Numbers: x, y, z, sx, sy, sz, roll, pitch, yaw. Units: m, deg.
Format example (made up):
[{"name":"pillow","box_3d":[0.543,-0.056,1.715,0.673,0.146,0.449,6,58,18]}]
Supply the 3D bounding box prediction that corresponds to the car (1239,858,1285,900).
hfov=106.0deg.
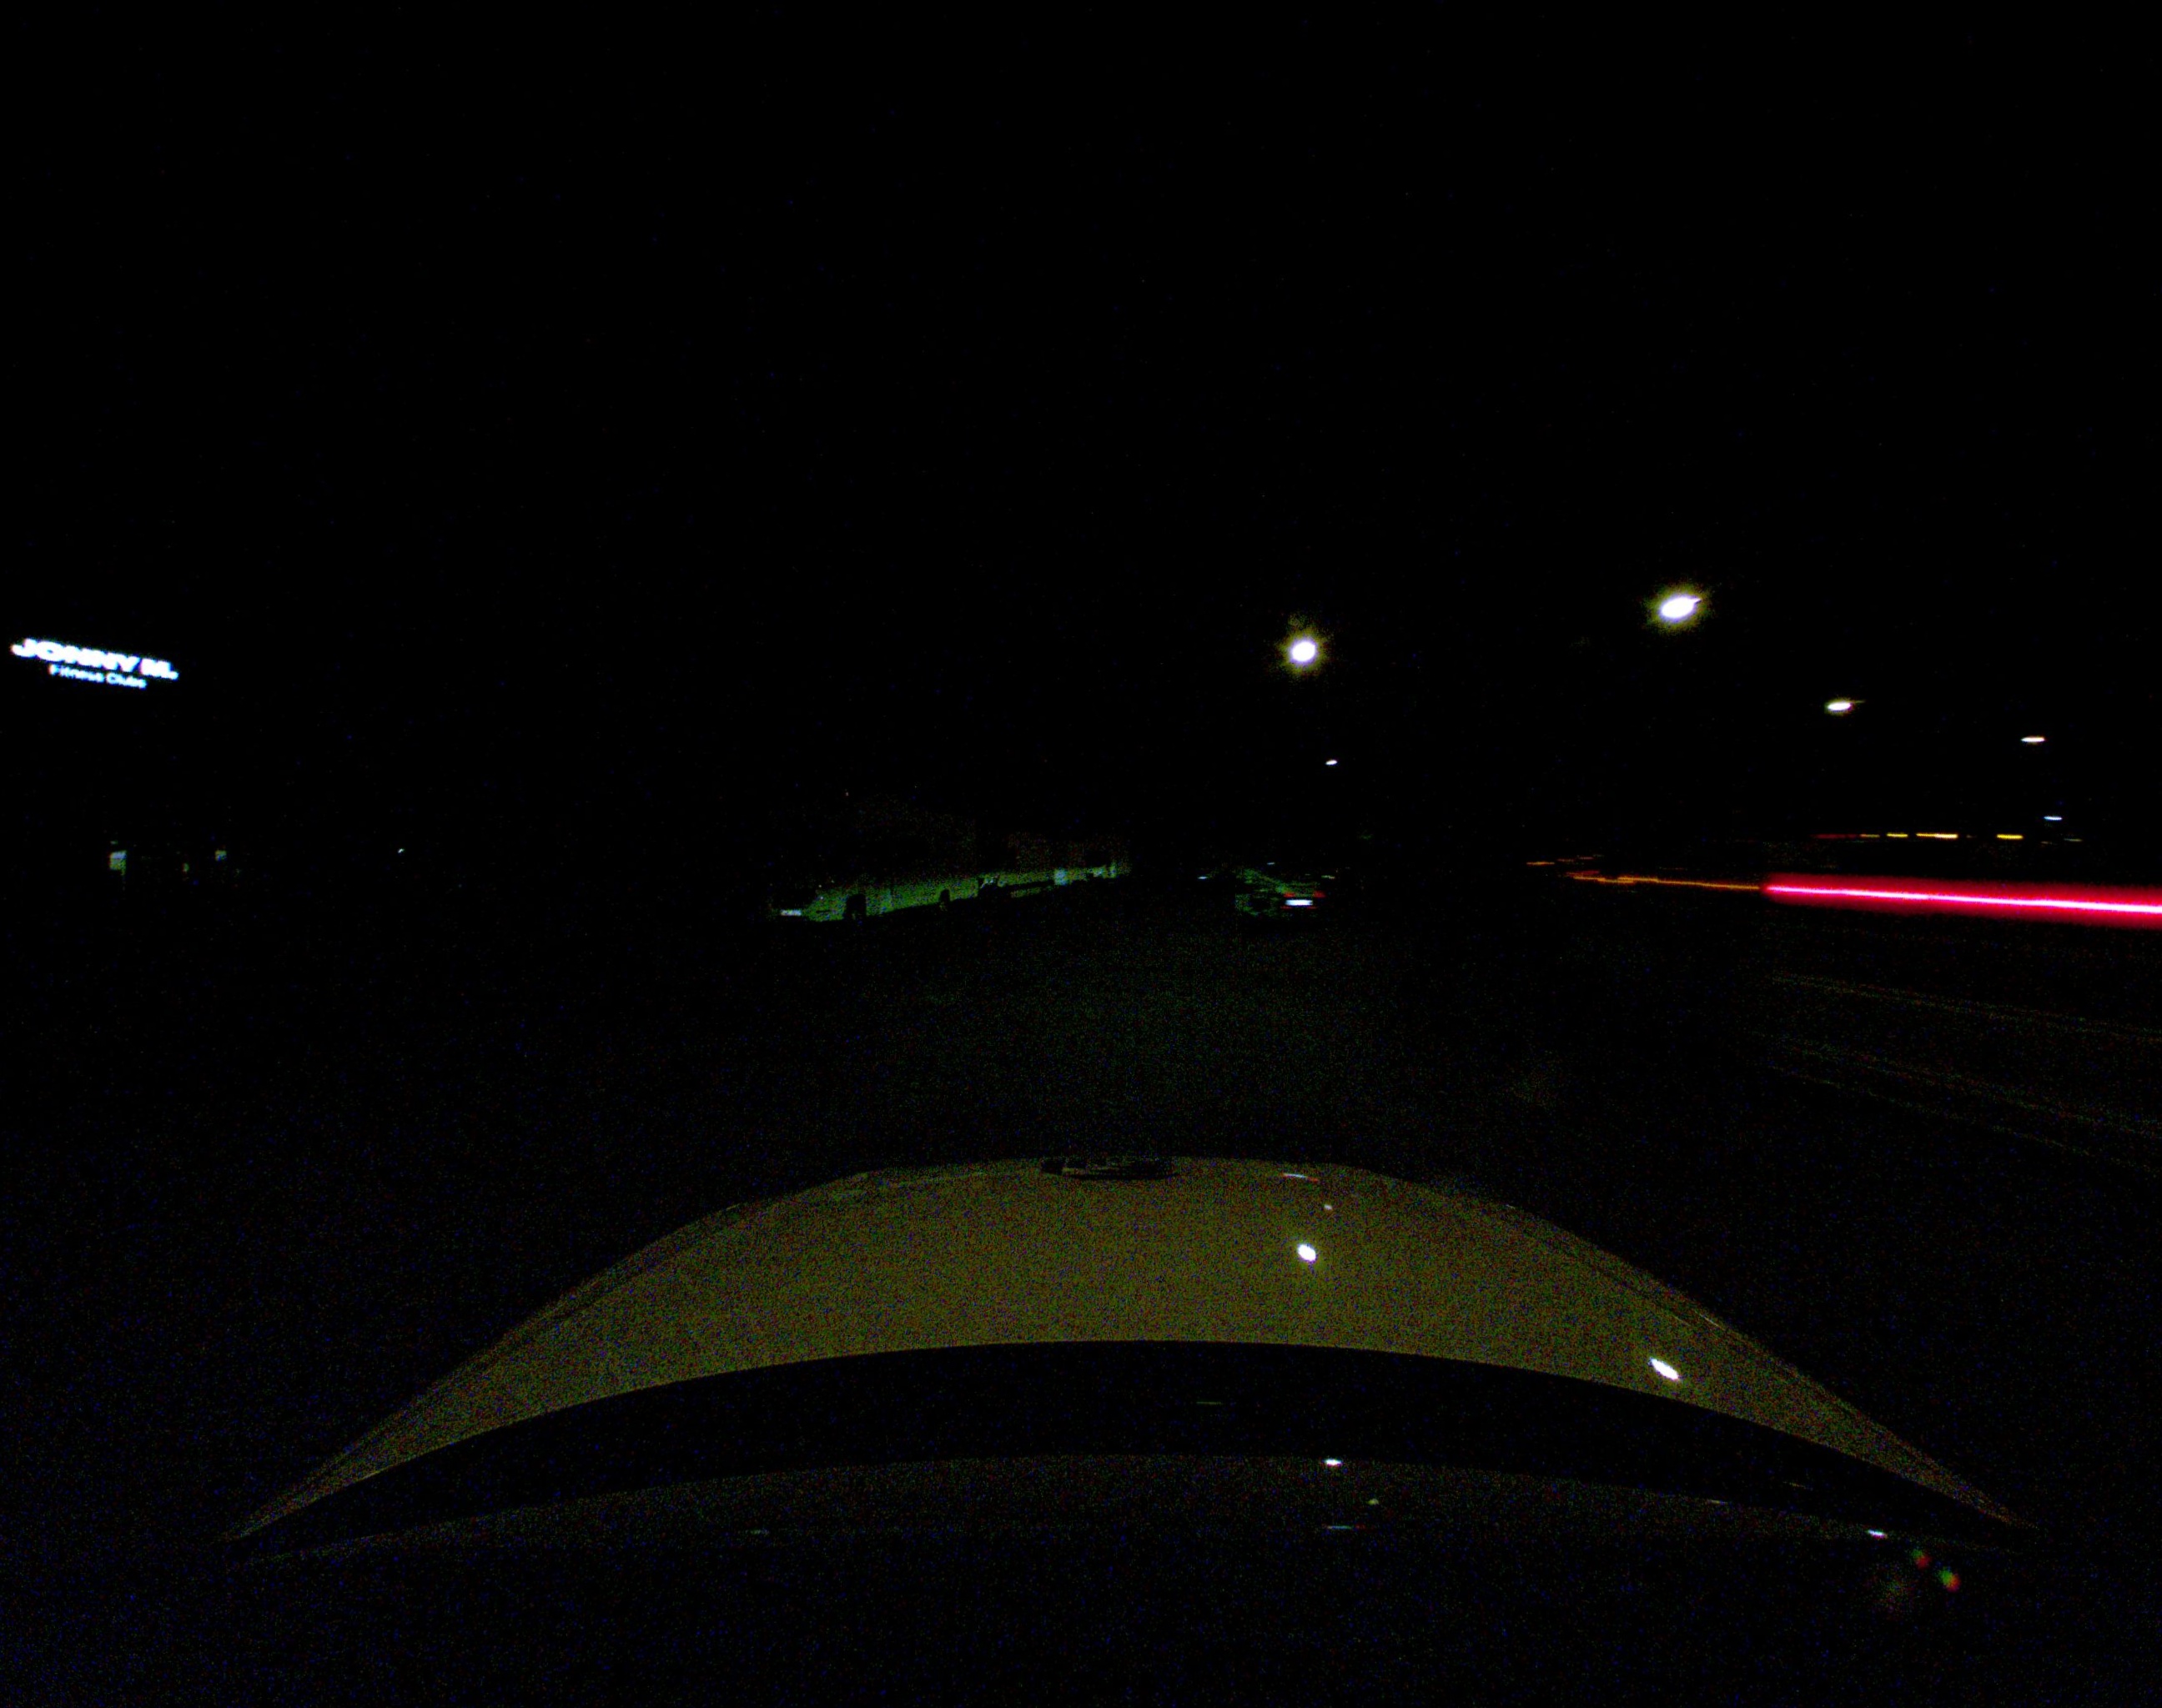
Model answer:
[{"name":"car","box_3d":[8.090,1.087,36.210,1.708,1.661,4.016,2,-1,16]}]

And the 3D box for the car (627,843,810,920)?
[{"name":"car","box_3d":[-14.825,1.036,33.838,1.975,2.841,6.722,2,1,39]}]

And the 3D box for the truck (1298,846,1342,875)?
[{"name":"truck","box_3d":[29.968,0.776,101.865,1.975,3.403,9.035,2,1,39]}]

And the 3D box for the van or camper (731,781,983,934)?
[{"name":"van or camper","box_3d":[-5.117,0.107,20.394,2.500,3.094,7.476,-1,-1,16]}]

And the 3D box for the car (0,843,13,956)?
[{"name":"car","box_3d":[-27.468,1.027,17.162,1.975,2.554,5.915,2,1,39]}]

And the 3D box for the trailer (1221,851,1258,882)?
[{"name":"trailer","box_3d":[15.040,1.112,77.138,1.975,2.813,4.732,1,0,30]}]

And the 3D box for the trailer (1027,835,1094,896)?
[{"name":"trailer","box_3d":[-0.858,0.502,36.145,1.979,2.527,3.582,-1,0,15]}]

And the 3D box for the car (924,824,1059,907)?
[{"name":"car","box_3d":[-2.960,0.407,29.246,2.501,2.606,7.117,-1,-1,14]}]

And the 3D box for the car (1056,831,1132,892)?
[{"name":"car","box_3d":[0.837,0.391,42.936,2.501,2.927,7.227,-1,-1,13]}]

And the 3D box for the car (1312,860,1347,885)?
[{"name":"car","box_3d":[19.144,1.423,62.656,1.704,1.821,4.024,2,-1,30]}]

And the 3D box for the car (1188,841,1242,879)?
[{"name":"car","box_3d":[11.873,0.507,71.623,2.495,3.171,7.181,-1,-1,28]}]

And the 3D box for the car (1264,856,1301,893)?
[{"name":"car","box_3d":[10.729,1.081,43.140,1.708,1.821,4.016,2,-1,16]}]

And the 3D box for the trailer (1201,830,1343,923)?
[{"name":"trailer","box_3d":[4.846,0.557,21.546,1.560,2.161,5.199,0,-1,-12]}]

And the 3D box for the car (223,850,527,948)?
[{"name":"car","box_3d":[-21.132,1.208,24.807,1.975,2.554,6.722,2,1,39]}]
